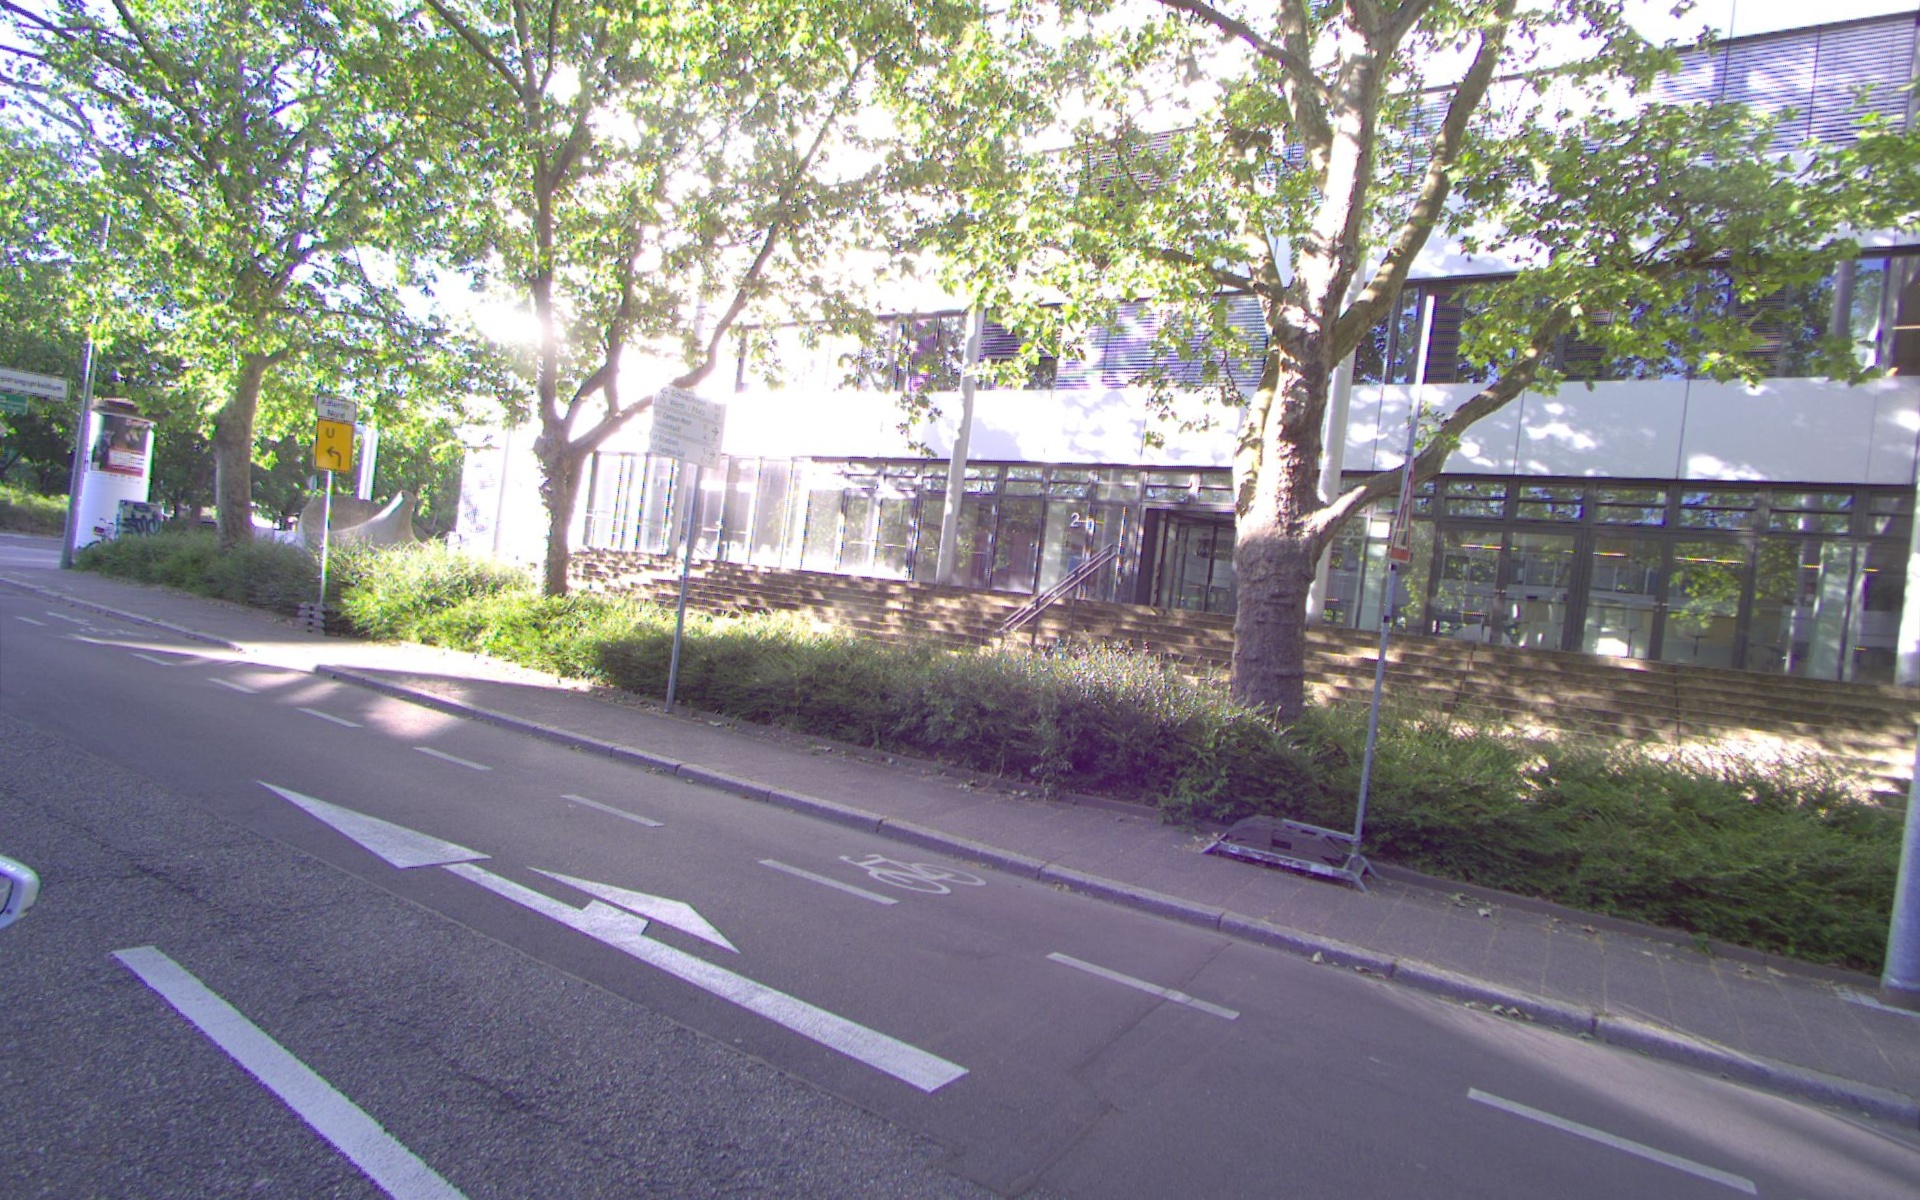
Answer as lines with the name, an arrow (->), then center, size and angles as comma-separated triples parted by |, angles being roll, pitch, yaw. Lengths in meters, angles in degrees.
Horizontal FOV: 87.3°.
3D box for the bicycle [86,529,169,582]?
bicycle -> -19.160, -1.005, 23.181 | 0.357, 1.036, 1.354 | 7, -1, 33
